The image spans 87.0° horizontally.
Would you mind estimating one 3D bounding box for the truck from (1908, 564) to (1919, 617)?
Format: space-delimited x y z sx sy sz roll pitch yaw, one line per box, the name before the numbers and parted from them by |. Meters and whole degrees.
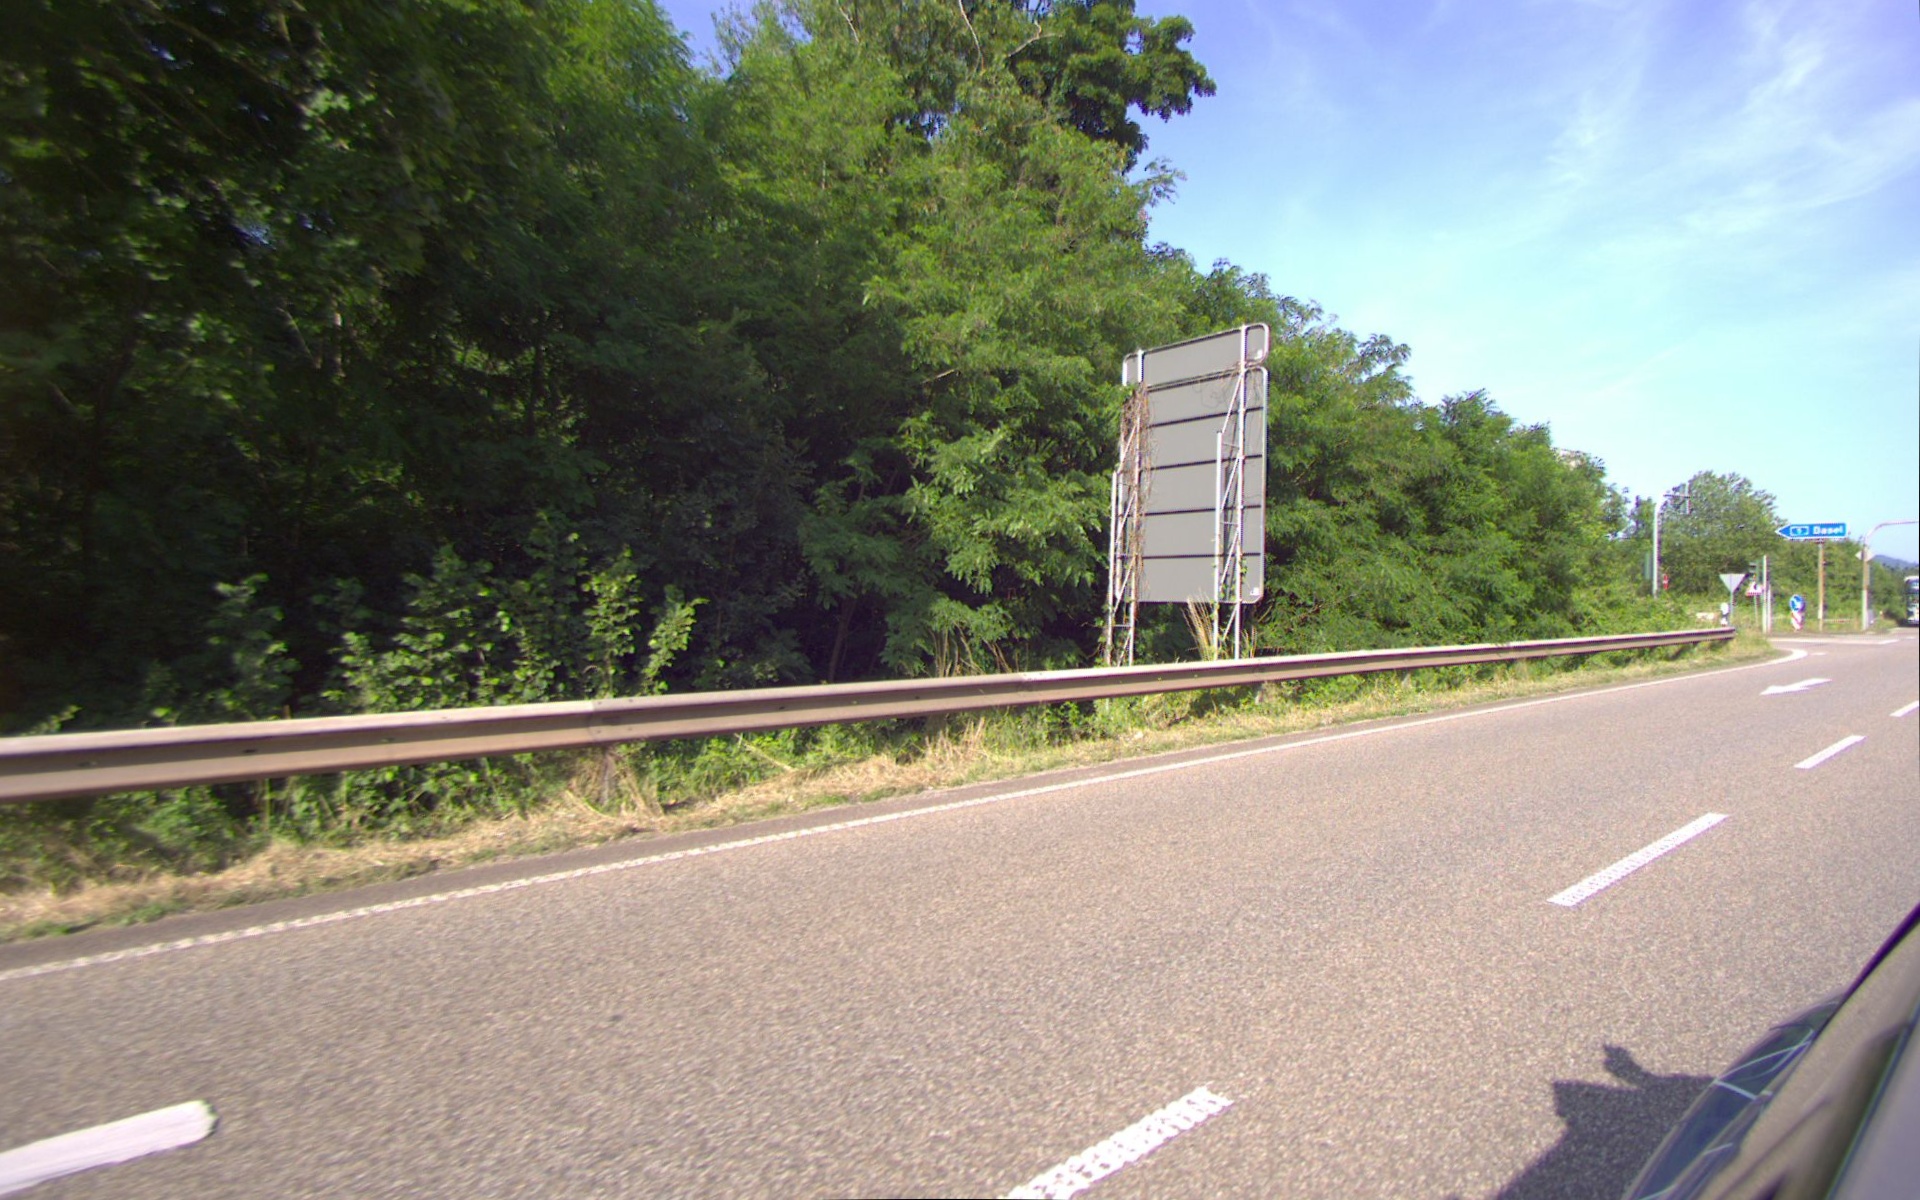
truck | 79.889 -0.754 82.291 14.321 4.071 3.190 0 -2 -44
